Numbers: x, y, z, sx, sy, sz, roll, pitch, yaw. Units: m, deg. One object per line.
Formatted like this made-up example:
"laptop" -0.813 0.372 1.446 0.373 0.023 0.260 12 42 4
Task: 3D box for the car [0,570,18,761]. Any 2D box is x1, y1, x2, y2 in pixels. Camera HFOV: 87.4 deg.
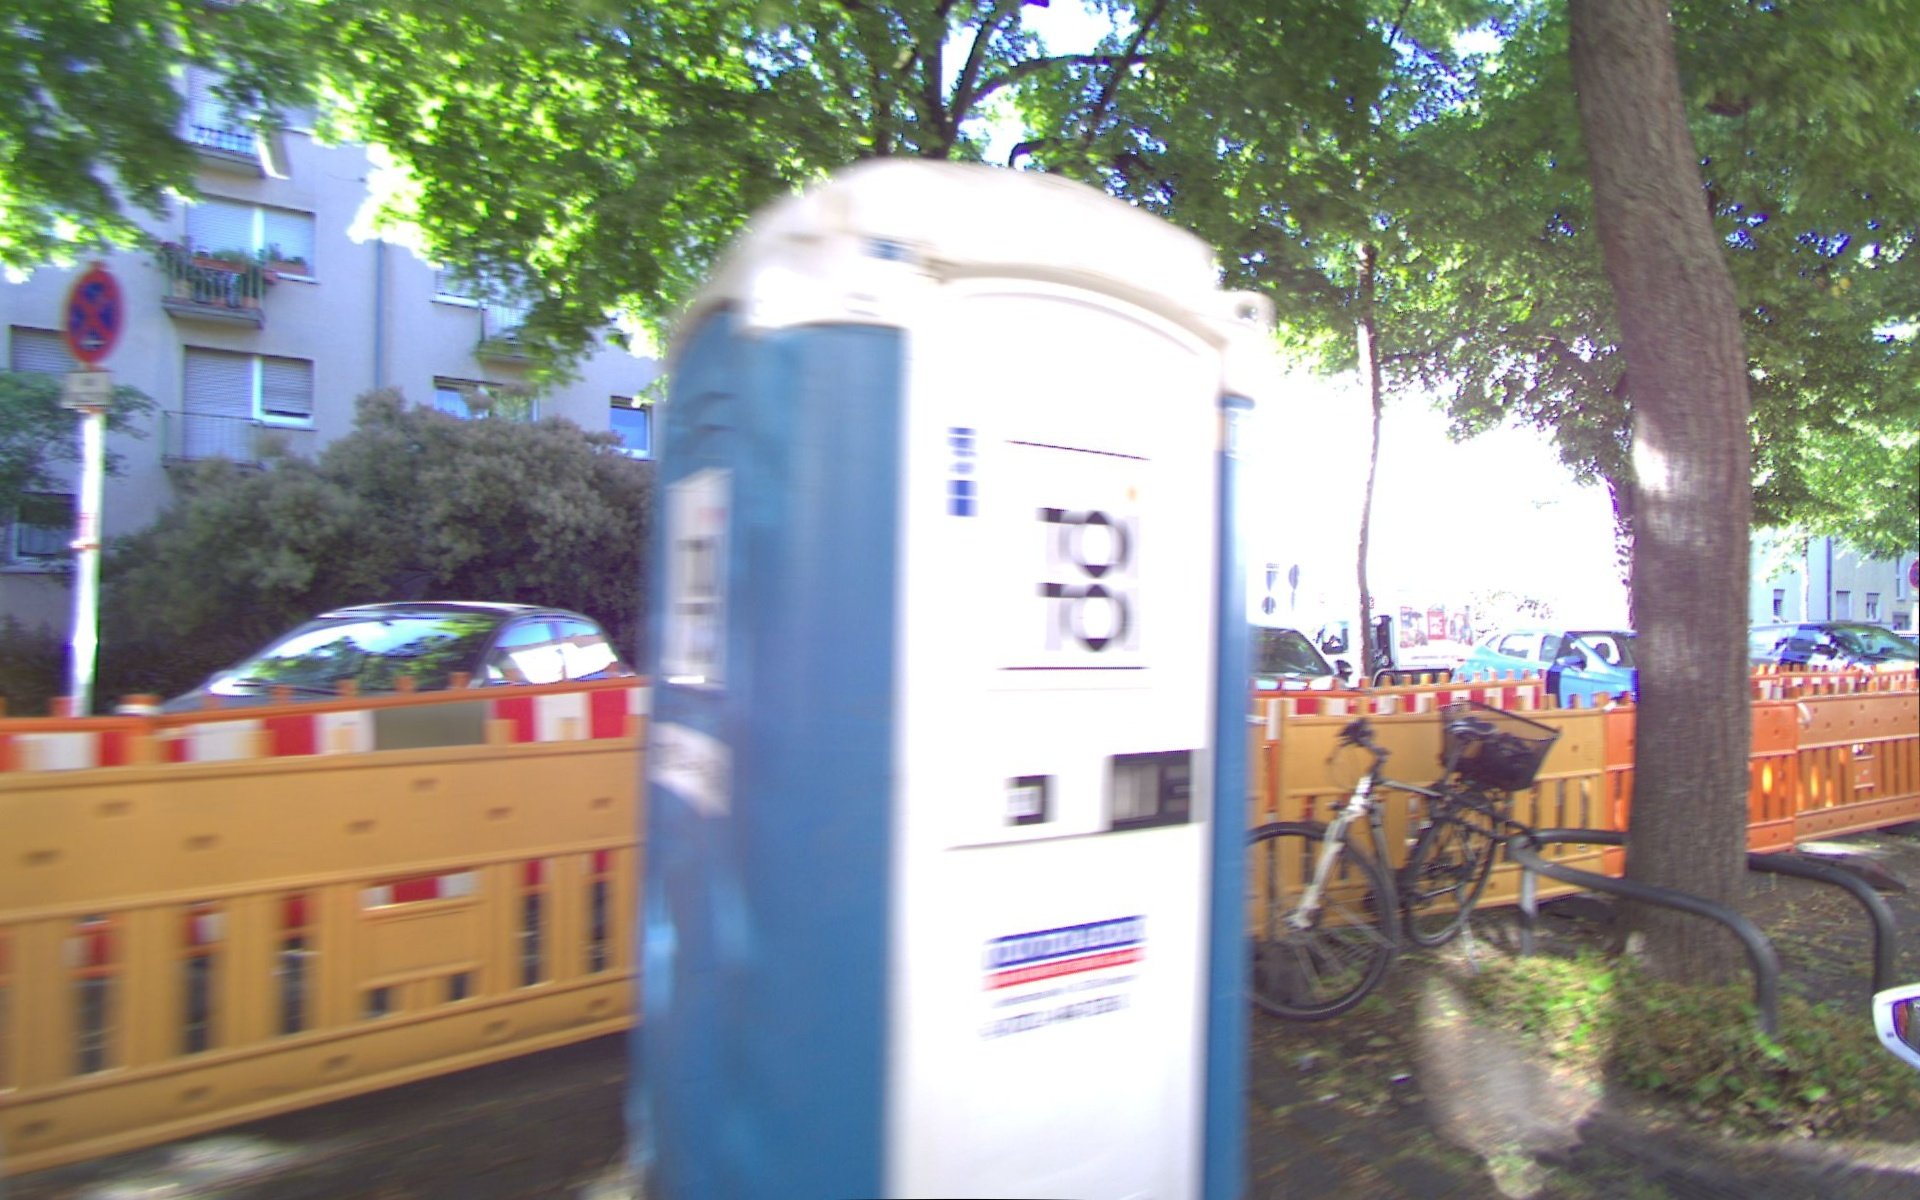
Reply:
"car" -11.857 0.654 9.340 4.220 2.040 1.612 2 0 -32

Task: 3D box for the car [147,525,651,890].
"car" -3.169 0.550 6.346 1.393 1.739 2.994 1 -1 2

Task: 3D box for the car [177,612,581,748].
"car" -7.037 0.923 12.552 4.078 1.462 1.711 2 -2 -30

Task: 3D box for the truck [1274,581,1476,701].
"truck" 9.214 0.893 22.262 4.210 2.441 1.914 1 -2 -28

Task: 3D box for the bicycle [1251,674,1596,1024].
"bicycle" 1.831 0.885 3.891 1.531 1.171 0.279 2 0 -26

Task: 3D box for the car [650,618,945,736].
"car" -2.407 1.087 15.172 4.064 1.579 1.711 2 -2 -30

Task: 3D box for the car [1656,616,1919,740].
"car" 13.198 1.117 15.557 1.666 1.647 4.130 1 -2 -7

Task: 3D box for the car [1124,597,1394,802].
"car" 2.596 0.815 9.641 1.637 1.539 4.002 0 -2 4

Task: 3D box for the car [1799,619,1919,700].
"car" 18.573 1.164 19.798 1.223 1.472 2.948 2 0 -13

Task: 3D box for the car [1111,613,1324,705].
"car" 5.064 1.108 19.580 4.147 1.595 1.612 2 0 -32

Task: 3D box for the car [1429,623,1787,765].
"car" 7.757 1.035 12.522 1.549 1.480 3.908 1 -1 -9
